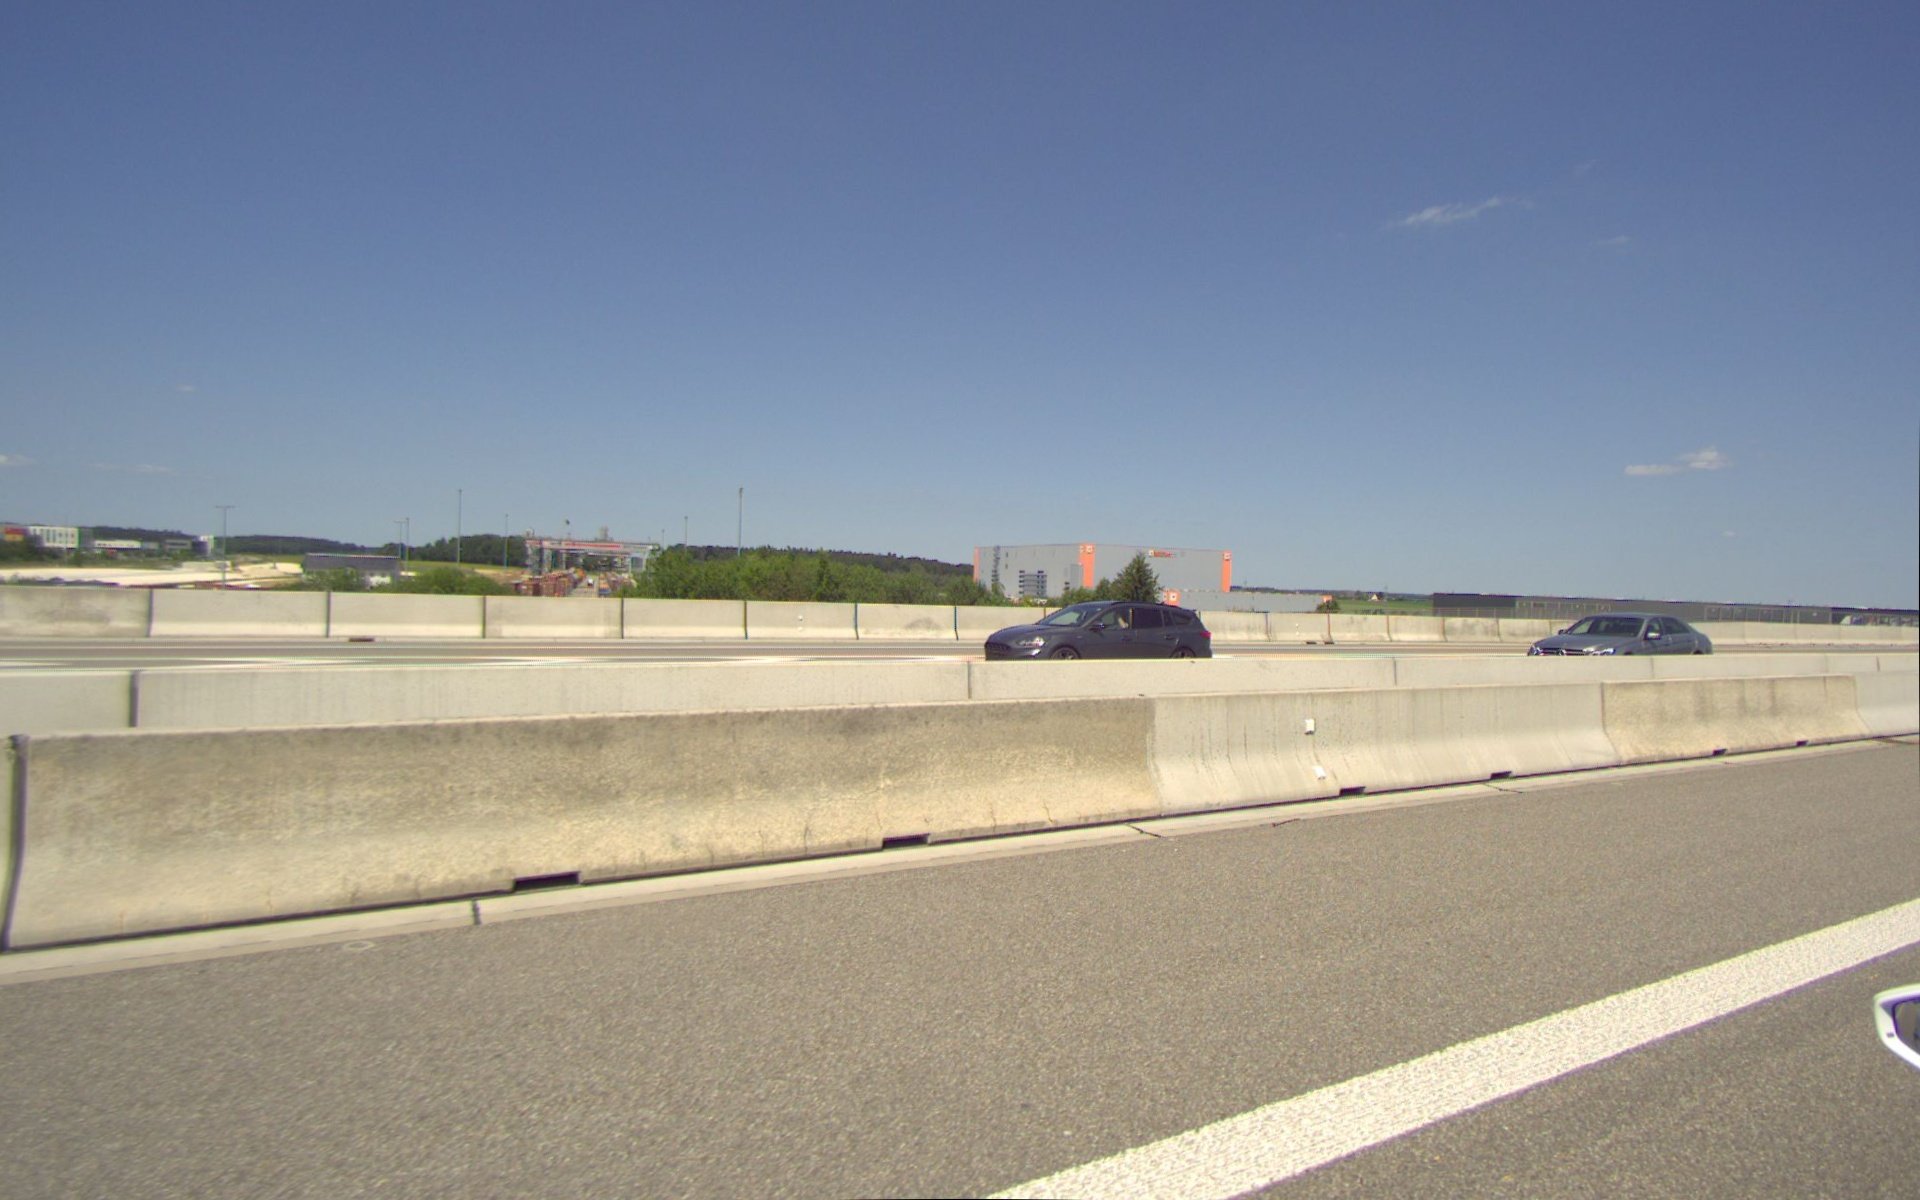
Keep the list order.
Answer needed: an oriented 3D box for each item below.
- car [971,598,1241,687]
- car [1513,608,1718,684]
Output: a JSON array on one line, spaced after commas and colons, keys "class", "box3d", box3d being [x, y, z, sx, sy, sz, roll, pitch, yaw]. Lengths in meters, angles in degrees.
[{"class": "car", "box3d": [2.777, 0.749, 18.754, 4.850, 1.439, 1.903, 1, 1, -30]}, {"class": "car", "box3d": [14.000, 0.942, 21.402, 4.471, 1.439, 1.834, 1, 0, -30]}]
